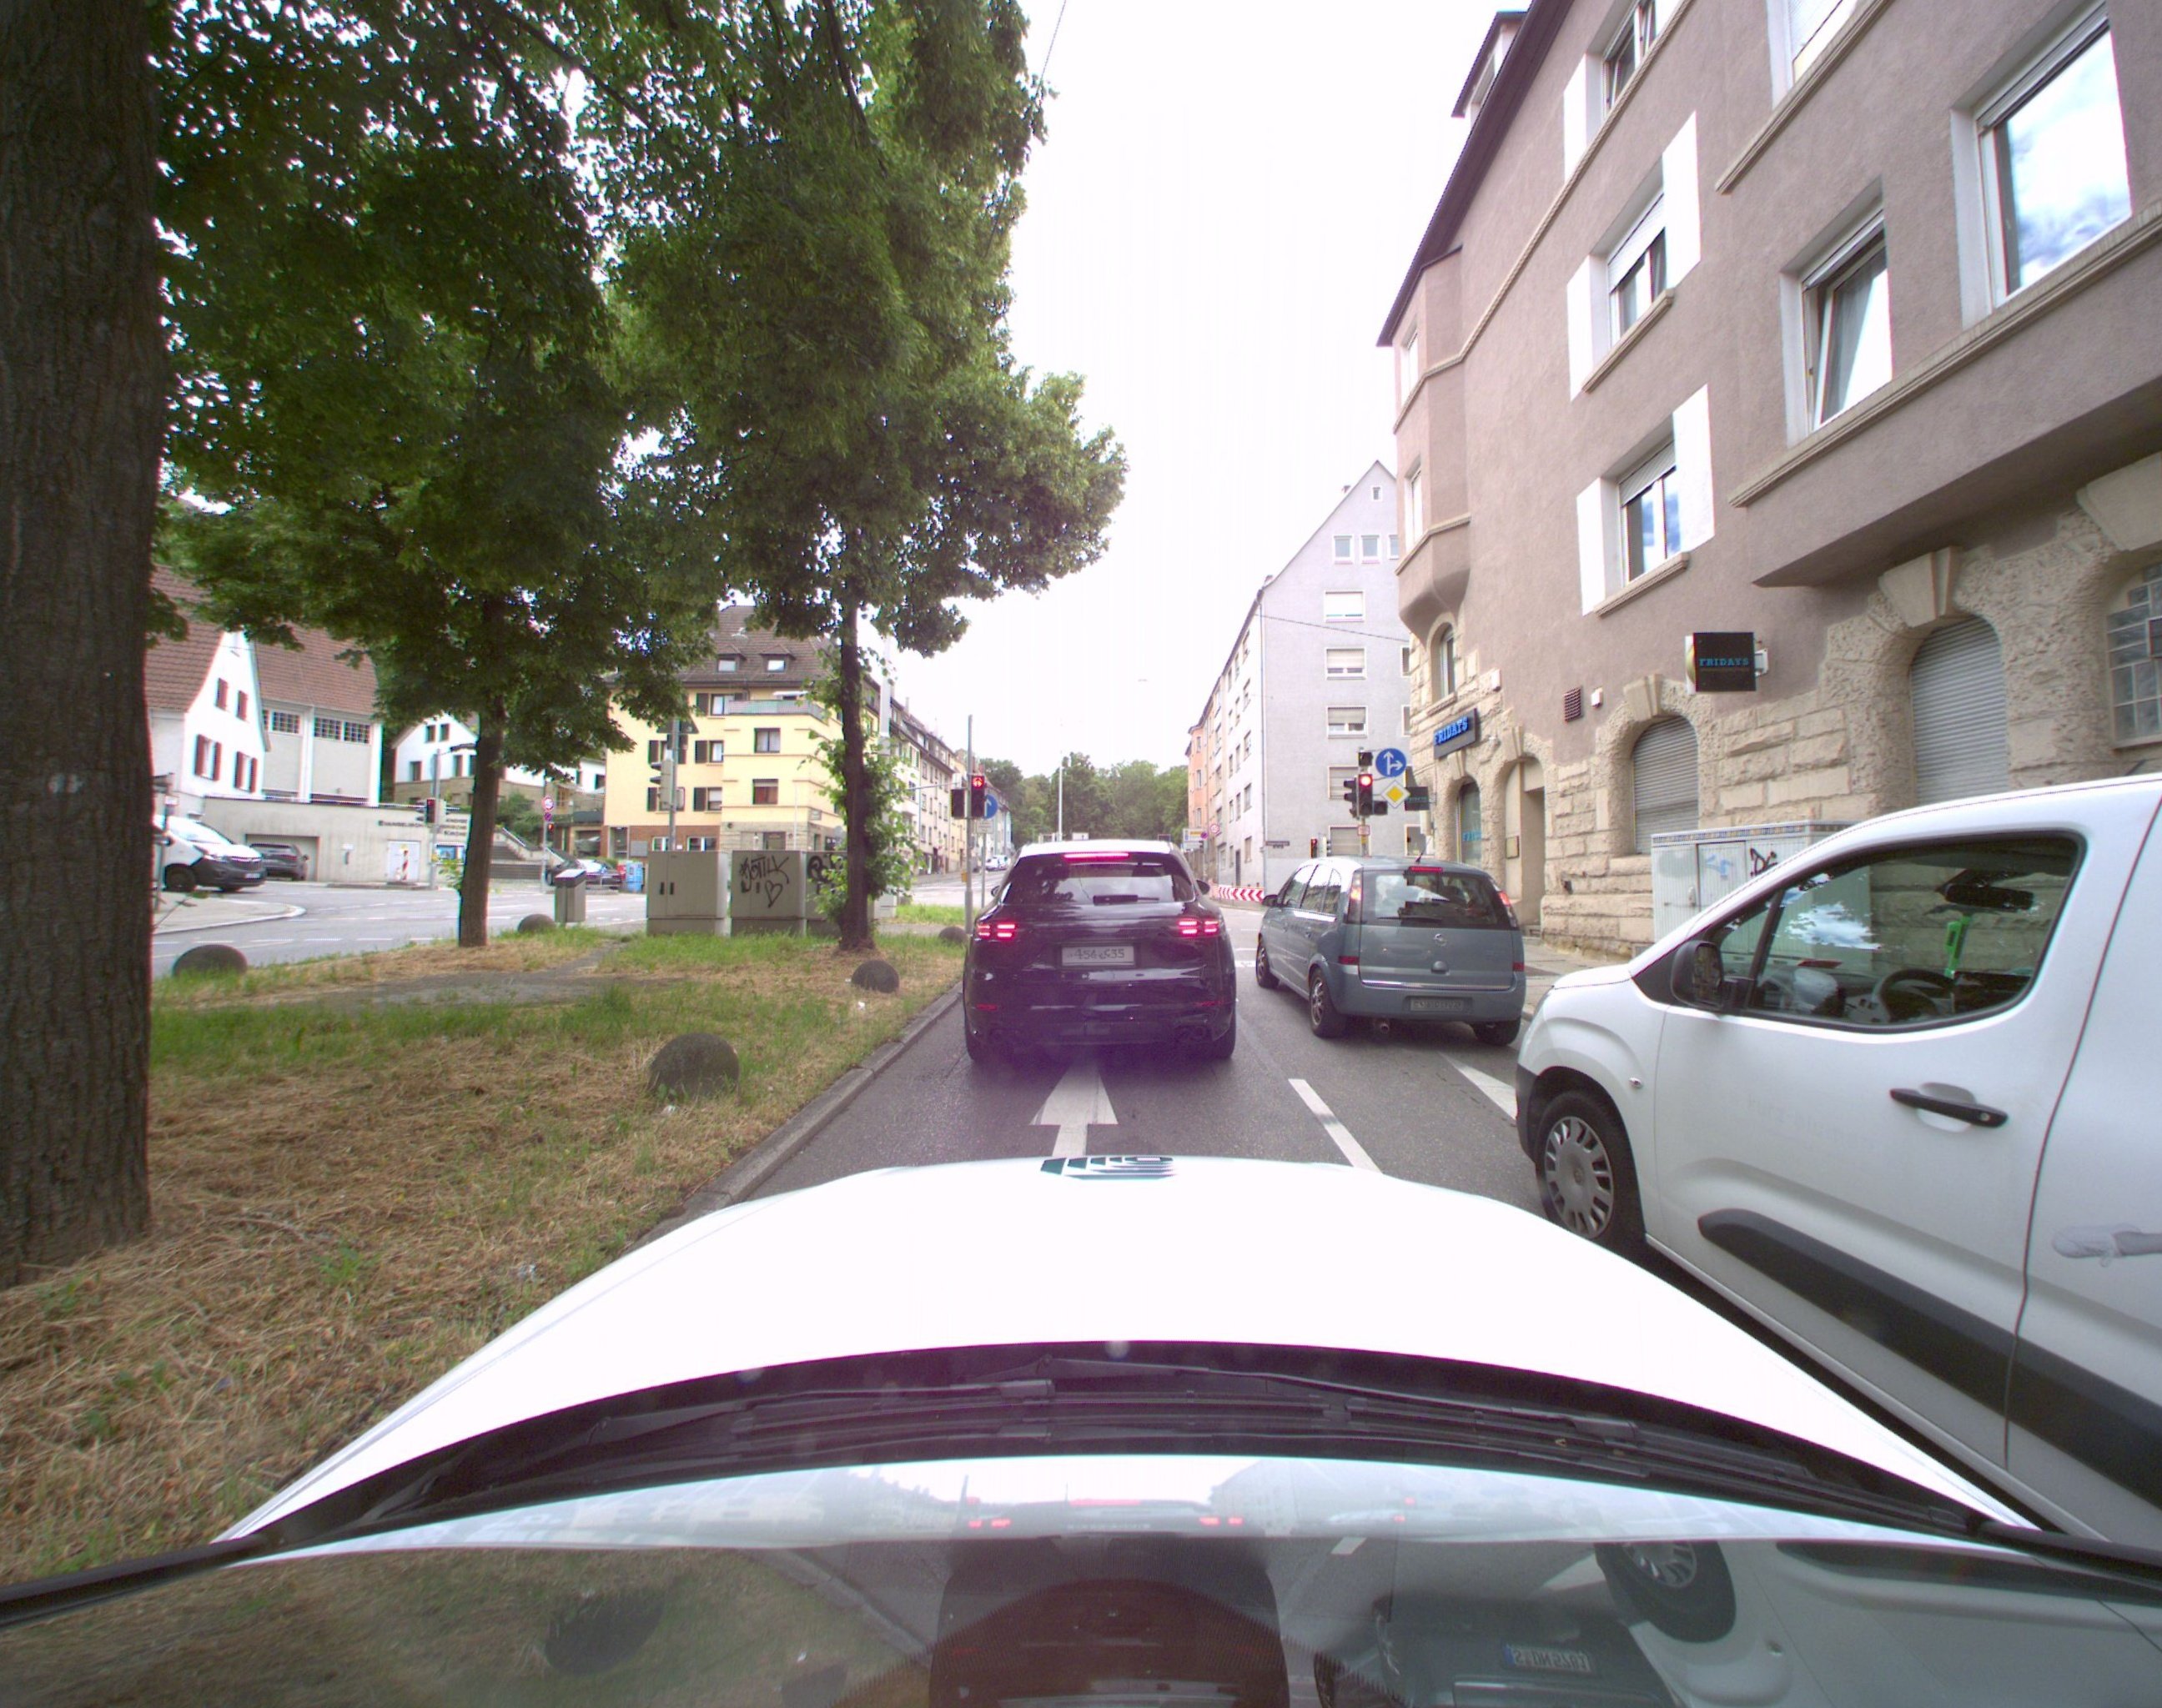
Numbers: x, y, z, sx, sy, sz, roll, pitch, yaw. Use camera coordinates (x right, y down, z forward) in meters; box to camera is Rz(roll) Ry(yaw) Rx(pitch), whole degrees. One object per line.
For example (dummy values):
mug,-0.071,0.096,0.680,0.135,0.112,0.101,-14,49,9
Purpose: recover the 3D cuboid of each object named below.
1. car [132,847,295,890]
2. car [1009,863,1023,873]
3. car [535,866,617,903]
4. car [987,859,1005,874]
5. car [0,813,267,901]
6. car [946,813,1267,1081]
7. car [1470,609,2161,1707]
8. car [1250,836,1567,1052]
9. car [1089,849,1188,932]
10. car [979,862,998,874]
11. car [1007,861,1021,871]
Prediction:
car,-32.603,0.538,30.804,4.021,1.510,1.779,1,-1,-41
car,-10.405,2.274,130.509,1.788,1.510,4.001,0,0,1
car,-24.082,1.460,38.820,3.948,1.665,1.894,-2,-3,35
car,-10.886,1.553,104.230,1.788,1.810,4.001,0,0,1
car,-24.696,0.091,20.748,5.179,2.064,1.984,1,-1,-17
car,0.268,0.592,7.107,1.986,1.653,4.003,-1,0,3
car,2.777,0.538,1.901,1.840,1.825,5.028,1,-2,6
car,2.924,0.722,8.143,1.746,1.593,3.631,3,-1,2
car,1.296,0.786,18.621,1.986,1.653,4.003,-1,-1,3
car,-11.271,1.690,99.208,1.788,1.510,4.001,0,0,1
car,-10.332,1.845,125.612,1.788,1.510,4.001,0,0,1
